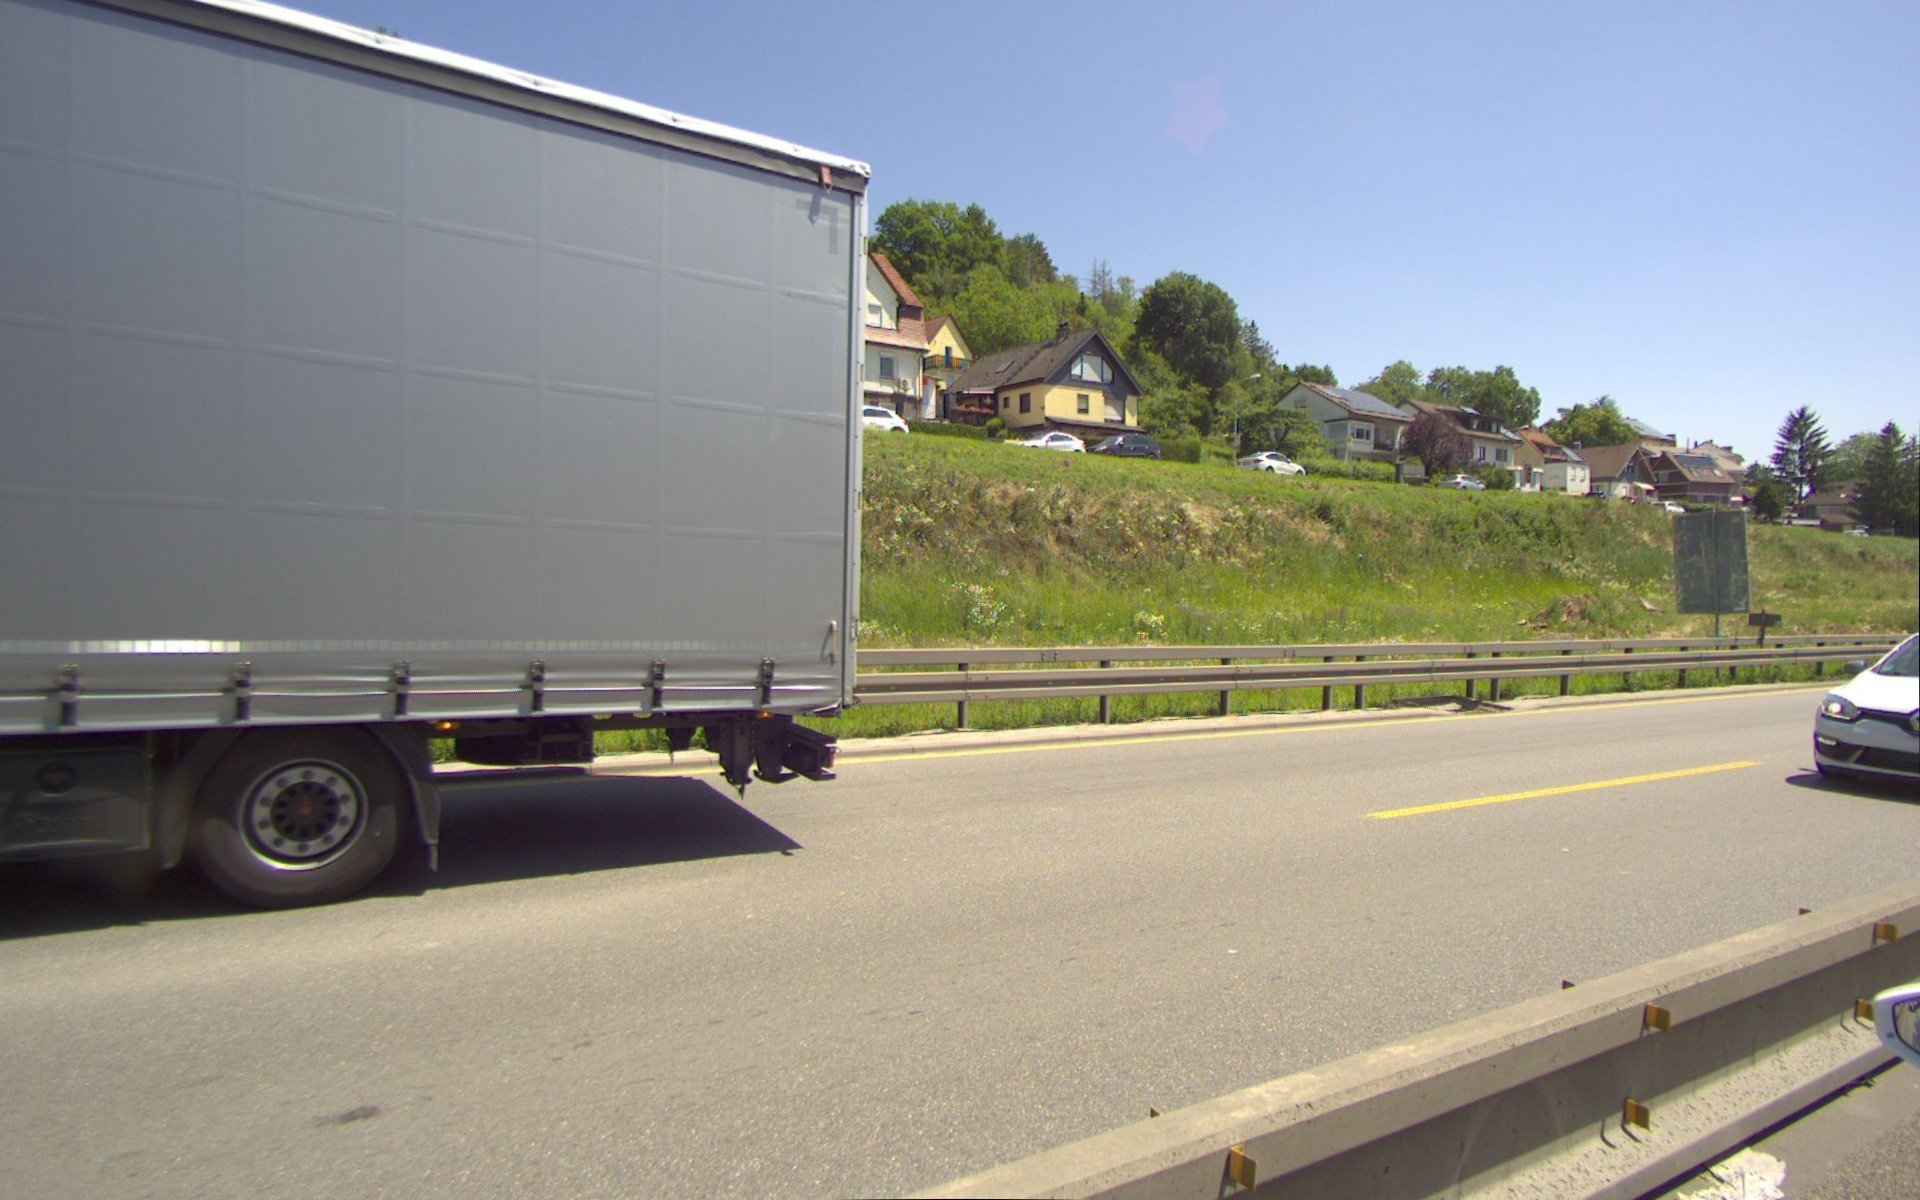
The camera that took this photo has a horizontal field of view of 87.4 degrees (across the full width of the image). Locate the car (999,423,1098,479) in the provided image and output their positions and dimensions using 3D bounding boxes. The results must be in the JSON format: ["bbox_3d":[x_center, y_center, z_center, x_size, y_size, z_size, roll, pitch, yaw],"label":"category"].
[{"bbox_3d":[4.163,-6.936,47.054,4.388,1.896,1.980,2,0,-36],"label":"car"}]

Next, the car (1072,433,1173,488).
[{"bbox_3d":[8.142,-6.920,50.243,4.924,2.035,2.057,2,0,-35],"label":"car"}]

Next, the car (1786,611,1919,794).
[{"bbox_3d":[9.597,0.885,9.266,3.953,1.483,1.793,1,0,-30],"label":"car"}]

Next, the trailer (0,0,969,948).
[{"bbox_3d":[-4.400,-0.644,5.342,8.606,4.042,2.914,1,0,-31],"label":"trailer"}]

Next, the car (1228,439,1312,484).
[{"bbox_3d":[17.638,-7.839,57.094,4.965,1.818,1.979,2,0,-37],"label":"car"}]

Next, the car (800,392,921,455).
[{"bbox_3d":[-3.977,-7.048,40.447,4.515,1.678,1.977,2,0,-40],"label":"car"}]

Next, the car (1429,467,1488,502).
[{"bbox_3d":[33.528,-7.728,67.554,3.963,1.818,1.979,2,0,-37],"label":"car"}]

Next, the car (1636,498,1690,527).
[{"bbox_3d":[62.678,-7.749,89.525,4.767,2.068,2.334,2,0,-33],"label":"car"}]
